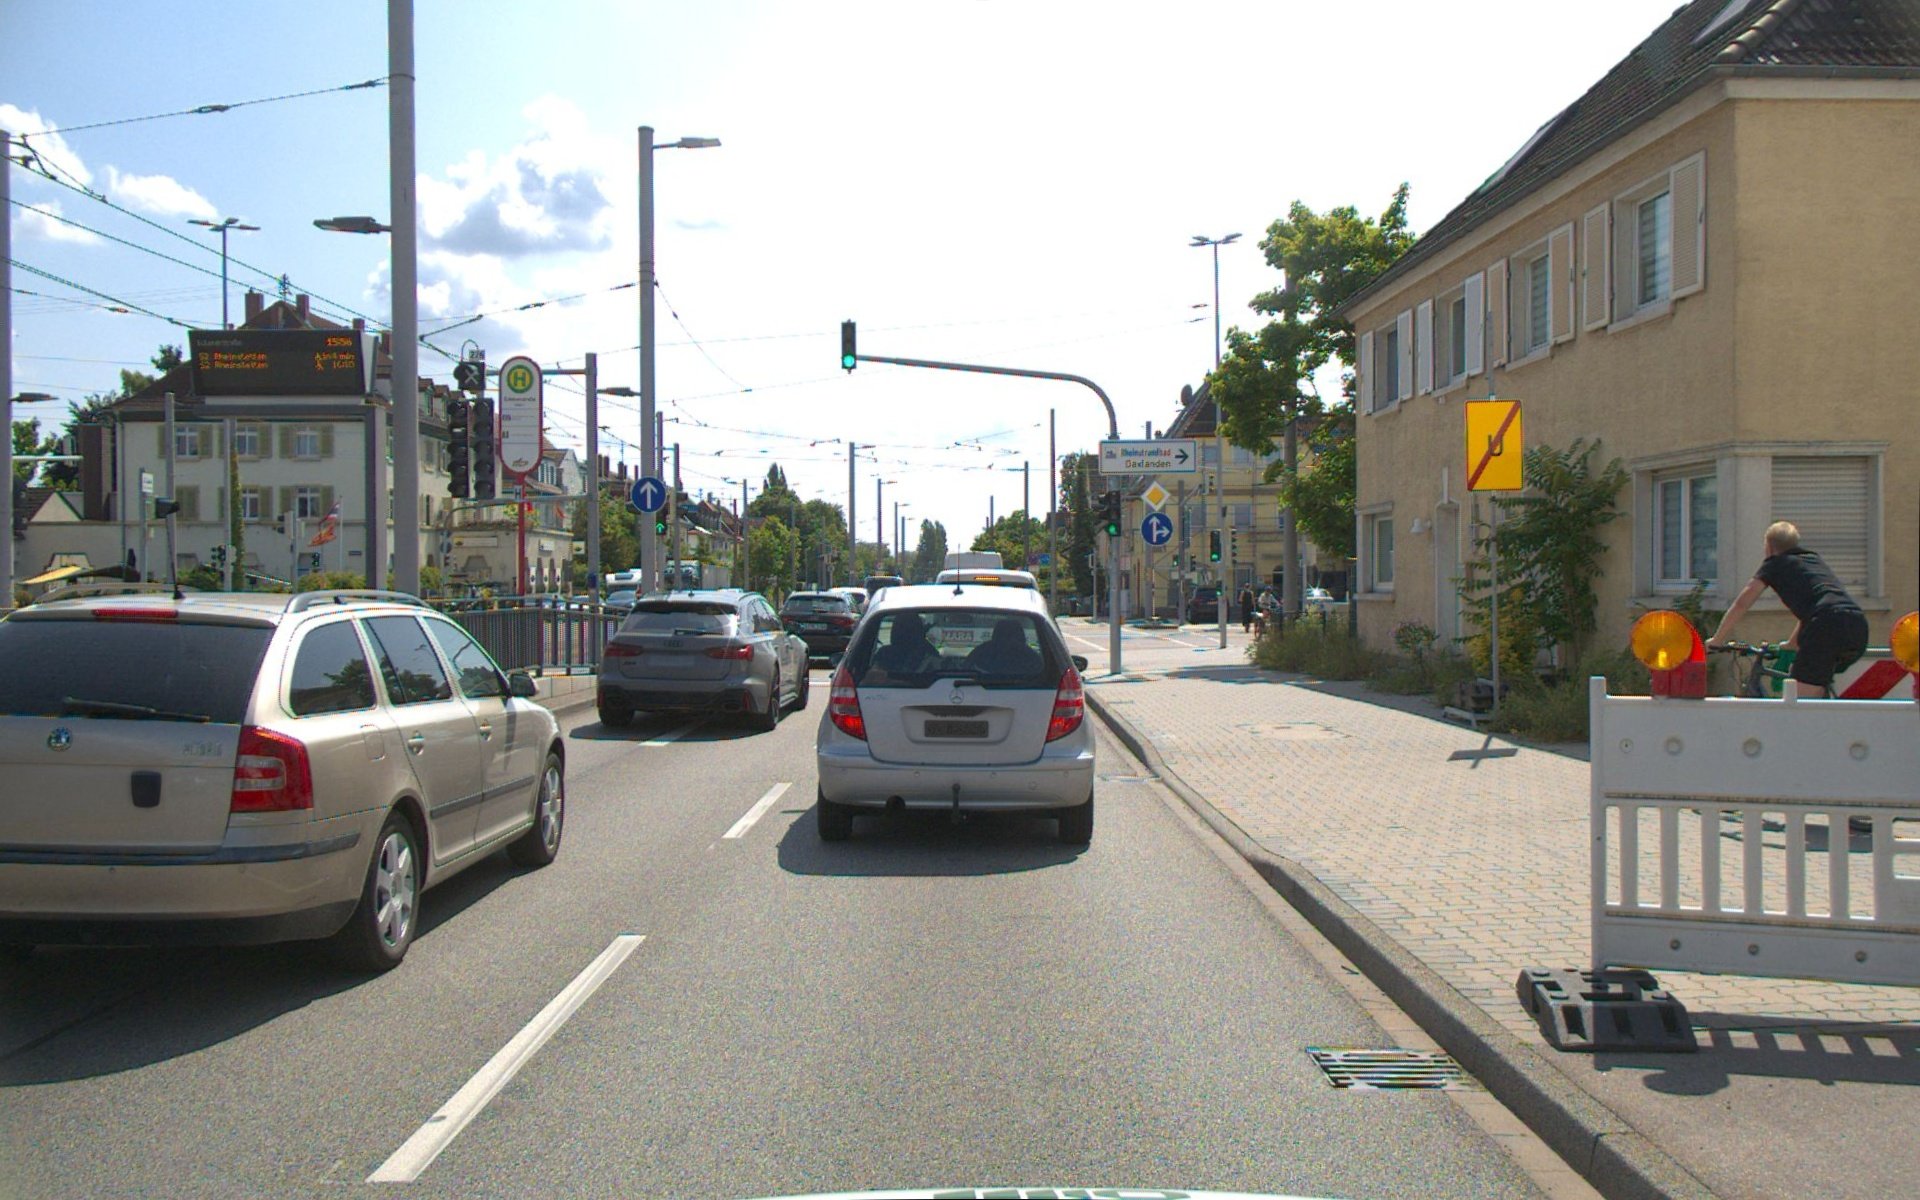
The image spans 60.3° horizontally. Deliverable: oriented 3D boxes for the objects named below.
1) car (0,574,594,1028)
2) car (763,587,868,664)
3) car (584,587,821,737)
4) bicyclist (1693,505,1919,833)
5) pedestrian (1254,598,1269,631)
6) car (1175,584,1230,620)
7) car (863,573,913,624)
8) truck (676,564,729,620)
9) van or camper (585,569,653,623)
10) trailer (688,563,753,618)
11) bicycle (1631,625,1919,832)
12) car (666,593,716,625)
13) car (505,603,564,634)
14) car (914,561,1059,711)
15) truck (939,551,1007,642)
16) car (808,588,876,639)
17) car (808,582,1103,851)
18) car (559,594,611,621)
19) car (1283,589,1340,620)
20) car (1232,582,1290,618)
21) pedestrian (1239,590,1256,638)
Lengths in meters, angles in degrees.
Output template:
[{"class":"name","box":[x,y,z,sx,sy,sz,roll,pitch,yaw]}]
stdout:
[{"class":"car","box":[-2.955,0.668,7.493,1.696,1.474,4.122,1,0,-1]},{"class":"car","box":[-2.840,0.495,33.424,1.815,1.413,4.512,1,0,-2]},{"class":"car","box":[-2.843,0.637,19.291,1.877,1.503,4.563,1,0,2]},{"class":"bicyclist","box":[5.122,0.375,9.883,0.822,1.825,1.070,-2,1,-37]},{"class":"pedestrian","box":[10.699,0.513,58.768,0.477,1.156,0.389,1,-1,6]},{"class":"car","box":[11.351,0.113,77.616,1.952,1.624,4.131,1,0,0]},{"class":"car","box":[-2.713,-0.044,62.921,1.815,1.875,3.917,1,0,-2]},{"class":"truck","box":[-18.708,-0.627,120.576,2.545,3.887,5.669,-3,1,3]},{"class":"van or camper","box":[-19.946,-0.235,96.994,2.276,2.981,7.755,-1,0,0]},{"class":"trailer","box":[-18.372,-0.804,127.735,2.545,3.887,12.841,-3,1,2]},{"class":"bicycle","box":[5.134,0.718,9.869,0.822,1.094,1.945,-2,1,-37]},{"class":"car","box":[-15.943,0.506,98.239,1.952,1.807,4.880,-2,0,2]},{"class":"car","box":[-20.418,0.881,79.555,1.650,1.375,4.345,1,0,0]},{"class":"car","box":[0.267,0.454,22.124,1.695,1.793,4.014,1,0,-2]},{"class":"truck","box":[0.324,-0.083,50.358,1.815,2.597,5.853,1,0,-2]},{"class":"car","box":[-3.434,0.397,48.660,1.815,1.413,3.917,1,0,-2]},{"class":"car","box":[-0.094,0.693,11.651,1.695,1.543,4.014,1,0,-2]},{"class":"car","box":[-19.997,0.427,88.323,1.649,1.375,4.346,1,0,1]},{"class":"car","box":[16.517,0.232,77.830,1.829,1.375,4.131,1,0,0]},{"class":"car","box":[14.121,0.018,77.722,1.952,1.624,4.131,1,0,0]},{"class":"pedestrian","box":[10.182,0.493,58.654,0.535,1.672,0.401,1,-1,5]}]
